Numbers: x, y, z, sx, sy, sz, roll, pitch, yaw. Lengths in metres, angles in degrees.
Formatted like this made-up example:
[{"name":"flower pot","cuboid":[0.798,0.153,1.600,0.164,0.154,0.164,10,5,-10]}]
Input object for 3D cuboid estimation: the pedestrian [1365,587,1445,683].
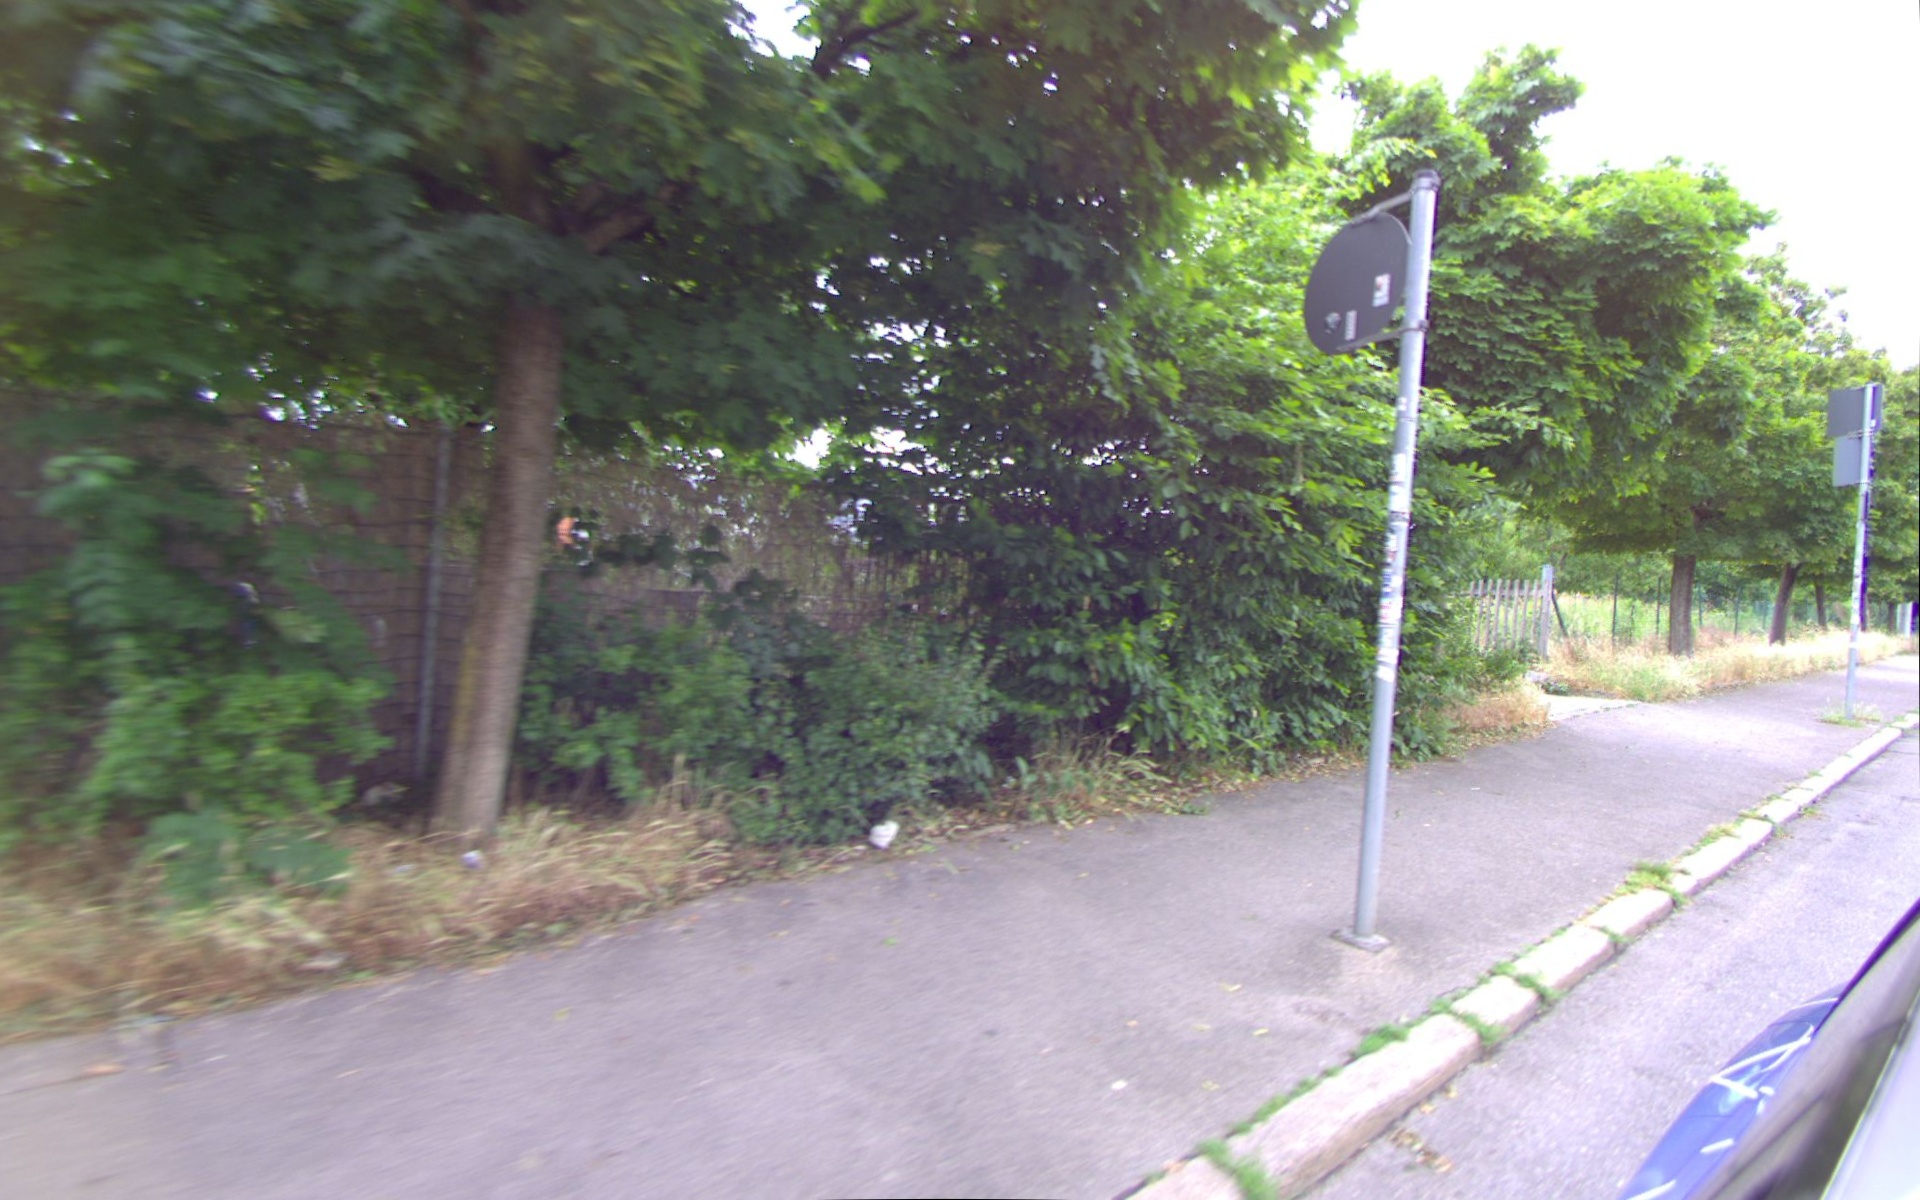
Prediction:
[{"name":"pedestrian","cuboid":[6.496,0.489,14.774,0.794,1.324,0.746,0,2,-41]}]
